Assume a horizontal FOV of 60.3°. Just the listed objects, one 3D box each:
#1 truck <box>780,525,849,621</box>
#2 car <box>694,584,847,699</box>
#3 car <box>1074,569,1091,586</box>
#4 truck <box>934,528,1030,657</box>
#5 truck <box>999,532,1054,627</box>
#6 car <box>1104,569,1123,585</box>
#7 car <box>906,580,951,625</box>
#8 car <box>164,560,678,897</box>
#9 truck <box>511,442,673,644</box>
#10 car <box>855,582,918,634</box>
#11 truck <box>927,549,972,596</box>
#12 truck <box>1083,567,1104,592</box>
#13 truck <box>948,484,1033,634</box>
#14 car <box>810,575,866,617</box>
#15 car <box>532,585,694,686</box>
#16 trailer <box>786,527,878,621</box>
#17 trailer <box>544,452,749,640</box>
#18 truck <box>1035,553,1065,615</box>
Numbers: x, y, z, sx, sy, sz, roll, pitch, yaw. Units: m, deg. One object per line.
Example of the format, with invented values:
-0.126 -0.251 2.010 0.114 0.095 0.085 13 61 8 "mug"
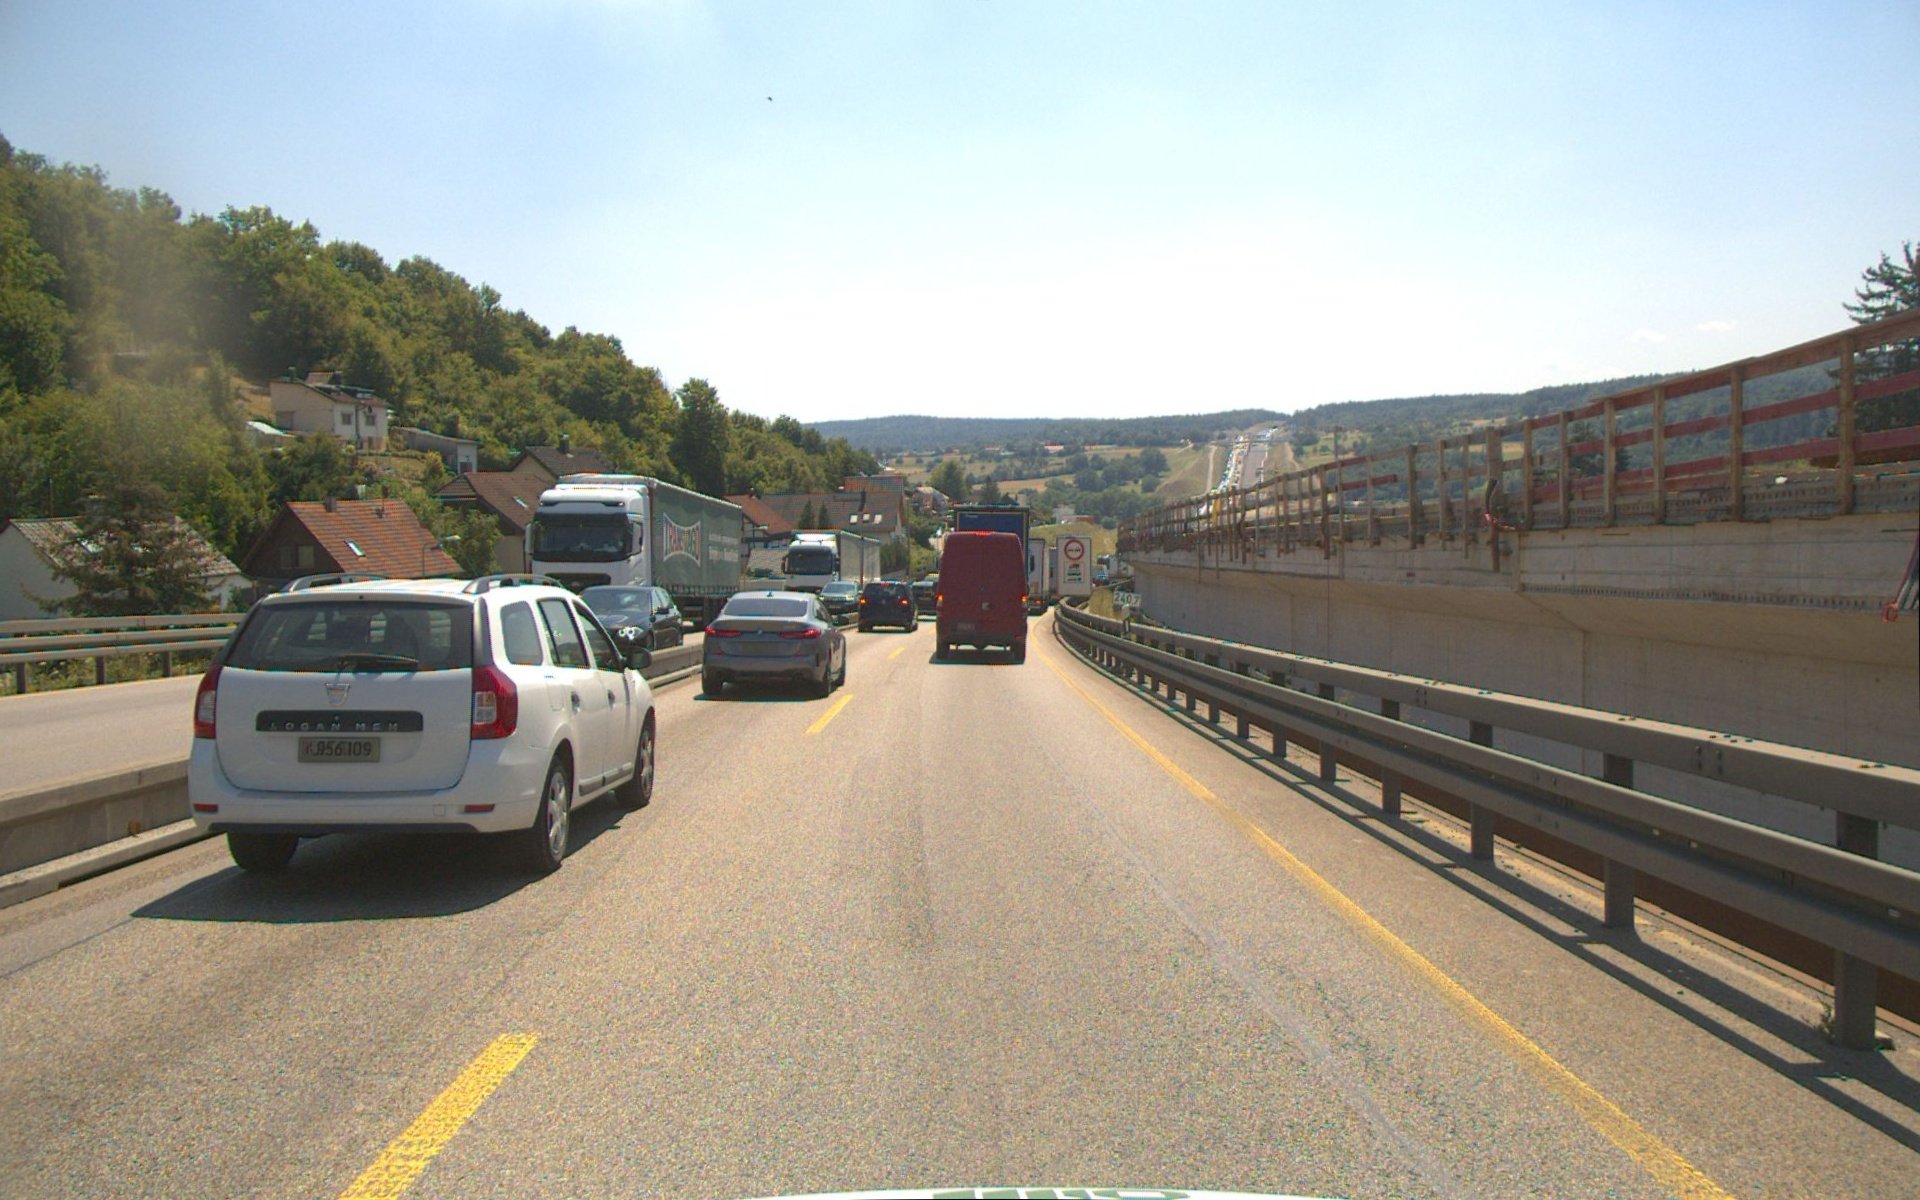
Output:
-7.330 -1.317 83.968 2.787 4.660 5.789 1 -1 2 "truck"
-2.640 0.541 23.904 1.758 1.511 4.049 0 0 0 "car"
15.922 -2.898 214.769 1.765 2.049 4.004 1 0 10 "car"
0.461 -0.141 36.000 1.953 2.624 4.000 1 -1 0 "truck"
3.568 -1.013 90.937 2.728 4.900 9.685 1 -1 1 "truck"
20.765 -3.106 223.770 2.086 2.049 4.003 1 -1 11 "car"
-1.328 0.127 70.884 1.693 1.870 4.001 1 -1 2 "car"
-2.847 0.600 9.758 1.618 1.509 4.266 -2 0 0 "car"
-9.410 -1.414 42.786 2.997 4.905 4.647 0 0 2 "truck"
-2.386 0.281 54.625 1.772 1.636 3.720 1 -1 2 "car"
-0.915 -2.533 154.117 2.915 4.235 10.553 1 1 6 "truck"
8.616 -1.303 106.727 1.287 1.569 3.152 1 -1 3 "truck"
1.092 -1.316 59.151 2.728 4.900 9.685 1 -1 1 "truck"
-5.019 -0.169 68.587 1.916 1.710 4.114 0 0 1 "car"
-6.224 0.618 30.217 1.953 1.669 4.853 1 -1 -1 "car"
-6.845 -1.239 90.810 2.774 4.723 14.588 1 -1 4 "trailer"
-9.103 -1.453 50.236 3.000 4.899 14.006 0 0 2 "trailer"
6.676 -1.142 122.311 1.951 4.458 4.002 1 -1 5 "truck"
